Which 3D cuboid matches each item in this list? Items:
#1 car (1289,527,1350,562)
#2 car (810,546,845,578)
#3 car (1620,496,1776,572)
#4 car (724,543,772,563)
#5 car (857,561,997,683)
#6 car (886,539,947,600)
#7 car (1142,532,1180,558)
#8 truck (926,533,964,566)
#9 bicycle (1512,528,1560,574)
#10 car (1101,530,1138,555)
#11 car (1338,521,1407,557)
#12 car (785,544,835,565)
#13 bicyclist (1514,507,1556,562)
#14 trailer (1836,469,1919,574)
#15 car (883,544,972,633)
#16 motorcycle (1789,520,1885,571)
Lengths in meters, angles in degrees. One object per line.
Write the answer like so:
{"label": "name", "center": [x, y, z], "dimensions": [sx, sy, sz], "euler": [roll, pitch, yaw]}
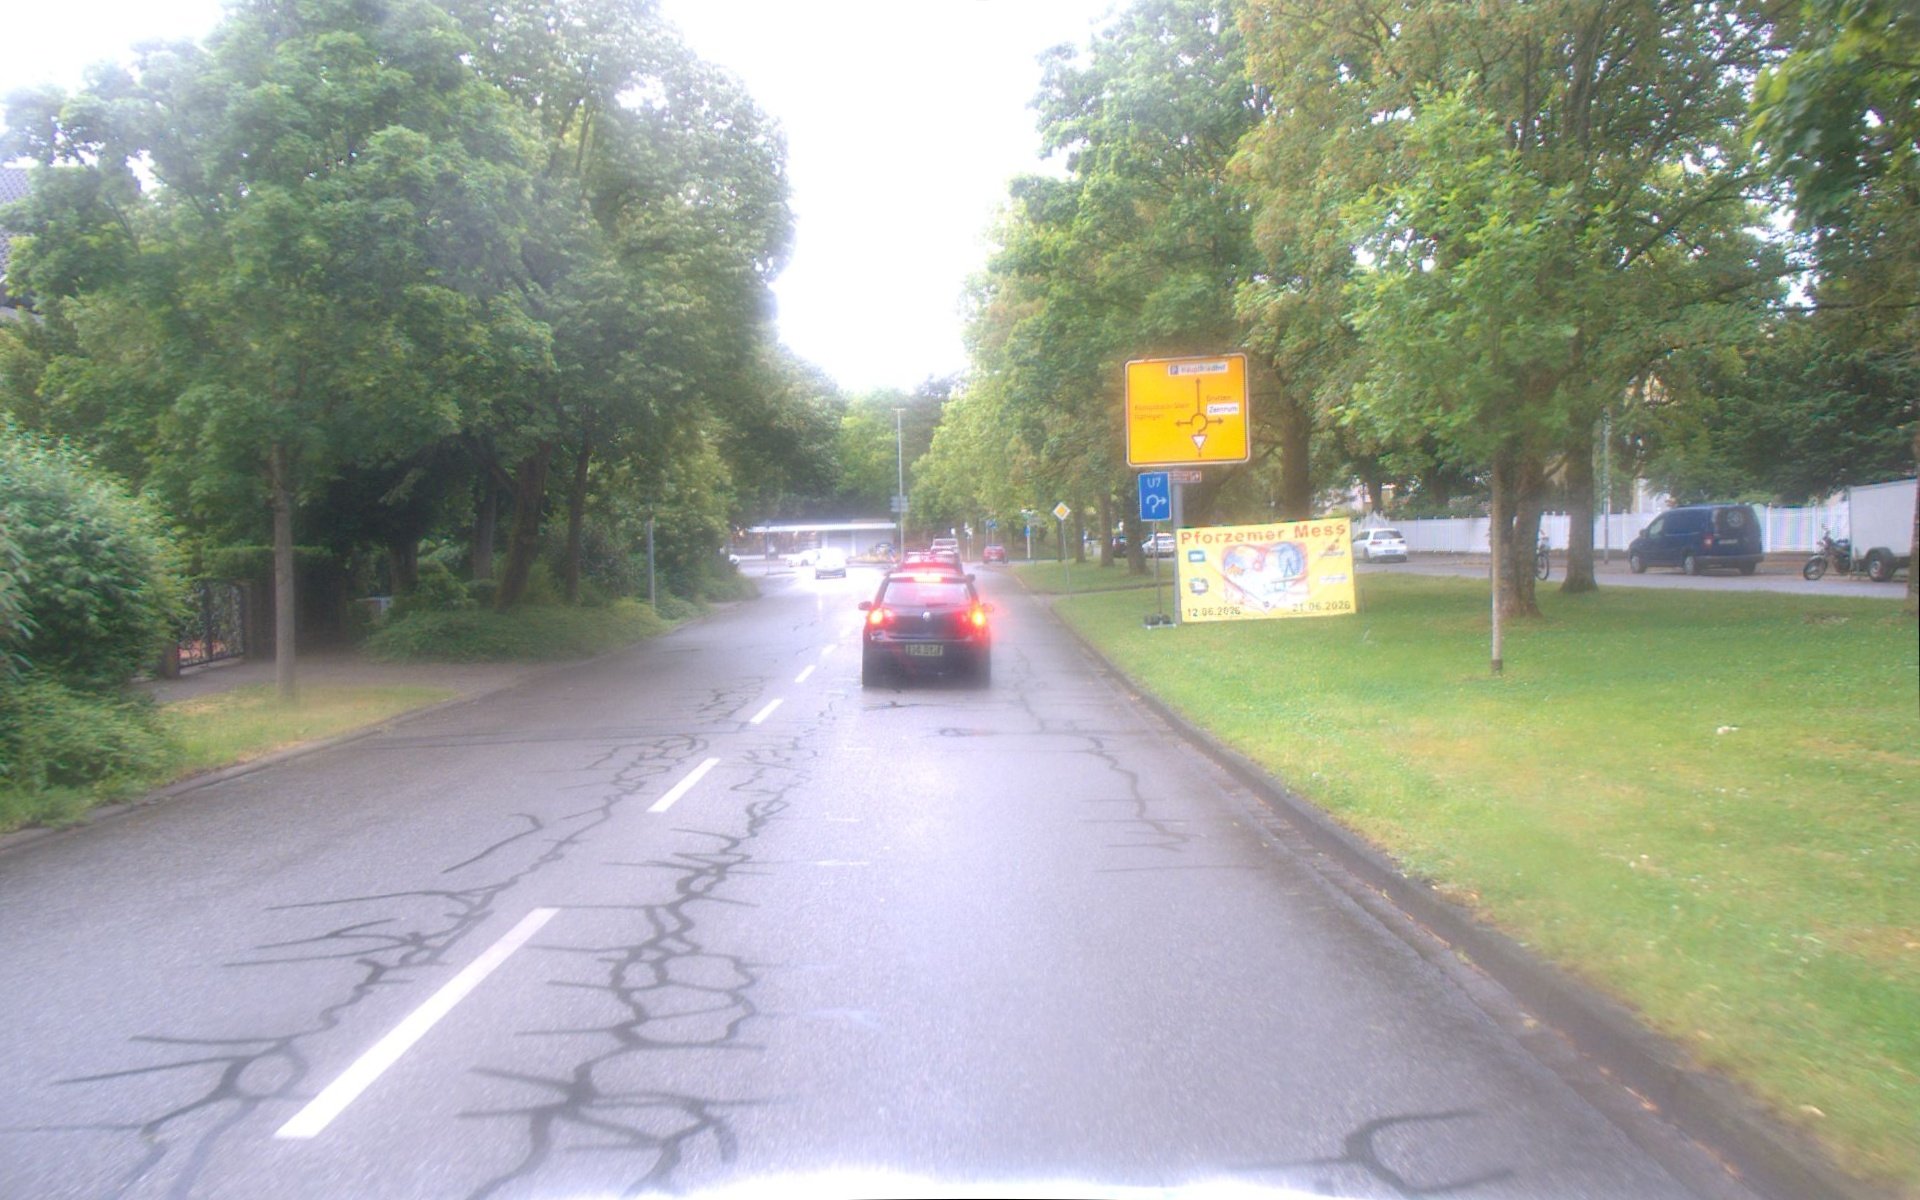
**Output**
{"label": "car", "center": [17.131, -2.671, 79.071], "dimensions": [1.766, 1.556, 4.111], "euler": [-3, 3, -3]}
{"label": "car", "center": [-7.480, -2.167, 93.618], "dimensions": [1.728, 1.642, 4.140], "euler": [-3, 2, -2]}
{"label": "car", "center": [19.950, -1.802, 44.953], "dimensions": [1.903, 1.840, 4.647], "euler": [-3, 3, -3]}
{"label": "car", "center": [-17.991, -3.974, 140.423], "dimensions": [3.776, 1.646, 1.749], "euler": [-3, 2, -45]}
{"label": "car", "center": [-0.432, 0.246, 22.908], "dimensions": [1.762, 1.541, 3.753], "euler": [0, 1, 0]}
{"label": "car", "center": [-1.360, -1.000, 52.737], "dimensions": [1.817, 1.815, 4.000], "euler": [-2, 1, 0]}
{"label": "car", "center": [12.607, -3.460, 103.745], "dimensions": [1.767, 1.430, 4.000], "euler": [-4, 2, -1]}
{"label": "truck", "center": [-1.043, -3.346, 108.845], "dimensions": [2.368, 2.039, 5.150], "euler": [-2, 2, -1]}
{"label": "bicycle", "center": [14.984, -1.266, 43.075], "dimensions": [0.583, 1.158, 1.863], "euler": [-1, 1, -1]}
{"label": "car", "center": [9.945, -3.634, 103.398], "dimensions": [1.767, 1.409, 4.000], "euler": [-4, 2, -1]}
{"label": "car", "center": [17.797, -2.639, 71.442], "dimensions": [1.585, 1.434, 4.006], "euler": [-3, 3, -6]}
{"label": "car", "center": [-12.214, -3.699, 134.617], "dimensions": [1.586, 1.452, 3.981], "euler": [0, 4, 45]}
{"label": "bicyclist", "center": [14.969, -1.697, 43.092], "dimensions": [0.729, 1.415, 1.000], "euler": [-1, 1, -1]}
{"label": "trailer", "center": [20.569, -1.699, 35.758], "dimensions": [1.408, 2.191, 2.947], "euler": [-3, 1, -6]}
{"label": "car", "center": [-0.694, -0.308, 36.658], "dimensions": [1.817, 1.815, 4.000], "euler": [-2, 2, 0]}
{"label": "motorcycle", "center": [20.148, -1.259, 38.021], "dimensions": [1.846, 1.111, 0.659], "euler": [-1, 3, 19]}
